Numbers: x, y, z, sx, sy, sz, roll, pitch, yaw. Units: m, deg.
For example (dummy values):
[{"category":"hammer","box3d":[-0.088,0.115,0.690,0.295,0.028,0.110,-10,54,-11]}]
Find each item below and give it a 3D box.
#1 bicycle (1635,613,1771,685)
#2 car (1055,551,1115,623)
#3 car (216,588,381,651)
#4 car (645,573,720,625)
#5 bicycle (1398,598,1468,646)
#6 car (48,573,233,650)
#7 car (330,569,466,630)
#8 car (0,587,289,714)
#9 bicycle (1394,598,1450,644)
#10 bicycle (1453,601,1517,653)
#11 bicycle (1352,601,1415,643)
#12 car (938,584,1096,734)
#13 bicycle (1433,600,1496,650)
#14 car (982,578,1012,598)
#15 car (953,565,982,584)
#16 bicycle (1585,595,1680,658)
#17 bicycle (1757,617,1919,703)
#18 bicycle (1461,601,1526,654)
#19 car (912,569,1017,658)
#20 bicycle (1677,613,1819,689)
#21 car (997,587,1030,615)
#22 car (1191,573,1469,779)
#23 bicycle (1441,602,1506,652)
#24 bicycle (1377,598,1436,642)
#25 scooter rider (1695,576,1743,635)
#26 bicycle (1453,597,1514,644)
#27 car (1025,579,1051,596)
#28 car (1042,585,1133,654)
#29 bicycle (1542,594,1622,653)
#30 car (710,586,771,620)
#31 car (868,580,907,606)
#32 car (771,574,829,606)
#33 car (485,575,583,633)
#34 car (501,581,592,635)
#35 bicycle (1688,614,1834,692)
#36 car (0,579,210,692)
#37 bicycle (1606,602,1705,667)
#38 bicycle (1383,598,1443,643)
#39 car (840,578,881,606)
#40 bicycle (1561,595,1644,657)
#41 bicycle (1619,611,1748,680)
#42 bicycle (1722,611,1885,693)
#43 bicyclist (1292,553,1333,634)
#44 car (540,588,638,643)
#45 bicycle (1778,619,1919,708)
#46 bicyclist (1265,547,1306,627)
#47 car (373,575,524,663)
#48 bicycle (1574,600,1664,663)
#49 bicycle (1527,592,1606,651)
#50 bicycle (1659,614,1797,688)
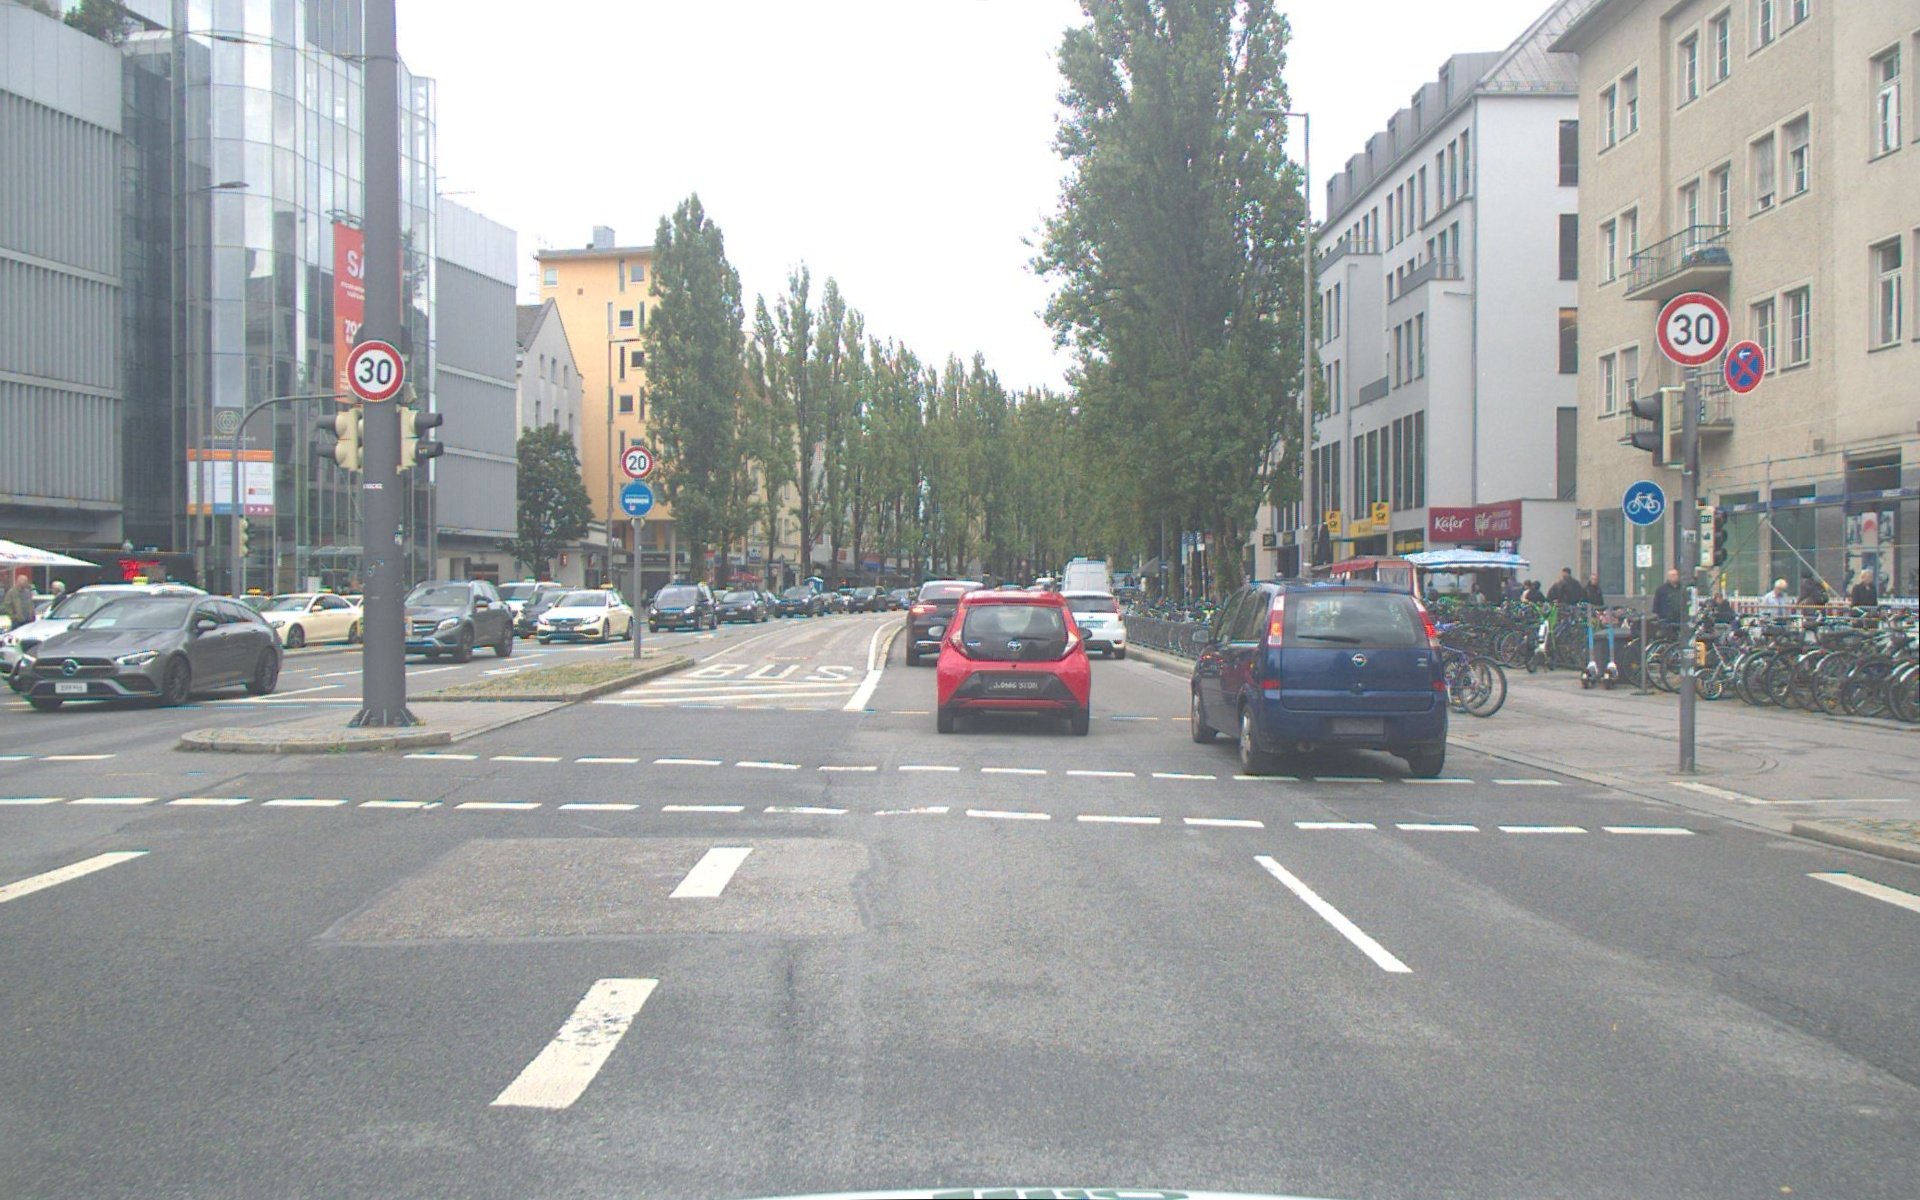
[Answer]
[{"category":"bicycle","box3d":[10.526,0.690,23.454,1.718,0.981,0.453,-1,0,0]},{"category":"car","box3d":[5.008,-0.534,66.977,2.063,2.766,4.804,0,1,0]},{"category":"car","box3d":[-17.241,0.467,43.383,1.951,1.534,4.639,0,1,8]},{"category":"car","box3d":[-9.944,-0.049,59.500,1.897,1.769,4.588,-1,1,0]},{"category":"bicycle","box3d":[10.014,0.466,35.039,1.375,0.980,0.369,-1,0,-6]},{"category":"car","box3d":[-17.896,0.212,36.368,1.862,1.570,4.392,-1,1,0]},{"category":"car","box3d":[-16.531,-0.046,48.847,1.951,1.708,4.187,1,1,11]},{"category":"car","box3d":[-10.760,0.597,22.191,1.954,1.436,4.165,-2,1,-3]},{"category":"bicycle","box3d":[10.127,0.451,36.260,1.208,0.980,0.367,-1,1,-23]},{"category":"bicycle","box3d":[10.165,0.516,32.048,1.110,0.980,0.369,-1,0,5]},{"category":"bicycle","box3d":[9.992,0.521,39.035,1.401,0.980,0.369,-1,0,5]},{"category":"car","box3d":[0.567,0.569,18.026,1.572,1.487,3.130,0,1,0]},{"category":"bicycle","box3d":[10.134,0.505,33.241,1.157,0.980,0.369,-1,0,-3]},{"category":"car","box3d":[3.307,-1.117,146.865,1.951,1.721,4.418,-1,1,12]},{"category":"car","box3d":[0.717,-2.394,156.143,1.951,1.721,4.418,-1,1,12]},{"category":"bicycle","box3d":[11.894,0.463,29.262,1.520,1.094,0.451,-1,0,-5]},{"category":"bicycle","box3d":[10.564,0.711,19.824,1.801,0.981,0.508,-1,1,-3]},{"category":"bicycle","box3d":[10.188,0.522,31.609,1.110,0.980,0.369,-1,0,5]},{"category":"car","box3d":[0.036,0.227,32.689,1.953,1.646,3.999,0,1,-1]},{"category":"bicycle","box3d":[10.586,0.681,22.233,1.719,0.981,0.453,-1,0,-3]},{"category":"car","box3d":[3.654,0.041,111.957,1.951,1.870,4.003,-1,0,5]},{"category":"car","box3d":[3.183,0.580,14.873,1.668,1.617,3.556,0,1,-1]},{"category":"bicycle","box3d":[10.147,0.530,32.698,1.156,0.980,0.369,-1,0,3]},{"category":"bicycle","box3d":[10.134,0.443,37.548,1.235,0.980,0.369,-1,0,2]},{"category":"scooter rider","box3d":[16.330,0.118,35.609,0.671,1.241,0.719,-2,1,-3]},{"category":"bicycle","box3d":[11.384,0.433,35.979,1.219,0.998,0.369,-1,0,-4]},{"category":"car","box3d":[7.985,-1.304,169.070,1.951,1.721,4.418,0,1,12]},{"category":"car","box3d":[2.794,0.407,36.883,1.665,1.451,3.496,0,1,-2]},{"category":"bicycle","box3d":[11.699,0.438,31.096,1.399,1.094,0.369,-1,0,-8]},{"category":"car","box3d":[-9.494,0.113,71.977,1.806,1.406,4.603,0,1,3]},{"category":"car","box3d":[-4.961,-0.472,113.412,1.951,1.721,4.924,0,-1,6]},{"category":"car","box3d":[-8.087,-0.530,84.158,1.951,1.561,4.591,0,1,7]},{"category":"car","box3d":[-15.956,0.103,62.331,1.952,2.048,5.526,-1,1,3]},{"category":"car","box3d":[-13.252,0.235,53.265,1.801,1.642,4.258,0,1,1]},{"category":"bicycle","box3d":[10.520,0.689,21.727,1.719,0.981,0.453,-1,0,-3]},{"category":"car","box3d":[-13.447,0.492,25.934,1.664,1.624,3.999,0,1,-2]},{"category":"bicycle","box3d":[12.034,0.586,28.636,1.518,1.094,0.451,-1,0,0]},{"category":"bicycle","box3d":[10.147,0.453,37.065,1.234,0.980,0.369,-1,0,8]},{"category":"car","box3d":[-6.193,-0.528,103.447,1.951,1.721,4.924,0,1,4]},{"category":"bicycle","box3d":[11.774,0.472,30.308,1.399,1.094,0.369,-1,0,-8]},{"category":"bicycle","box3d":[10.551,0.662,24.146,1.718,0.981,0.369,-1,0,0]},{"category":"bicycle","box3d":[10.522,0.641,20.649,1.801,0.981,0.508,-1,1,-3]},{"category":"bicyclist","box3d":[7.509,-0.138,35.263,0.601,1.686,1.251,-1,1,0]},{"category":"car","box3d":[-10.377,0.387,46.568,1.729,1.446,4.639,0,1,0]},{"category":"bicycle","box3d":[10.545,0.730,19.278,1.801,0.981,0.508,-1,1,-3]},{"category":"bicyclist","box3d":[7.904,-0.318,40.186,0.747,1.902,1.133,-1,1,0]},{"category":"car","box3d":[-10.707,0.332,34.957,1.707,1.699,4.732,-1,1,0]},{"category":"bicycle","box3d":[11.872,0.565,29.792,1.521,1.094,0.369,-1,0,-8]},{"category":"bicycle","box3d":[11.614,0.408,31.688,1.399,1.094,0.369,-1,0,-8]},{"category":"bicycle","box3d":[10.625,0.699,22.896,1.719,0.981,0.453,-1,0,-3]}]
